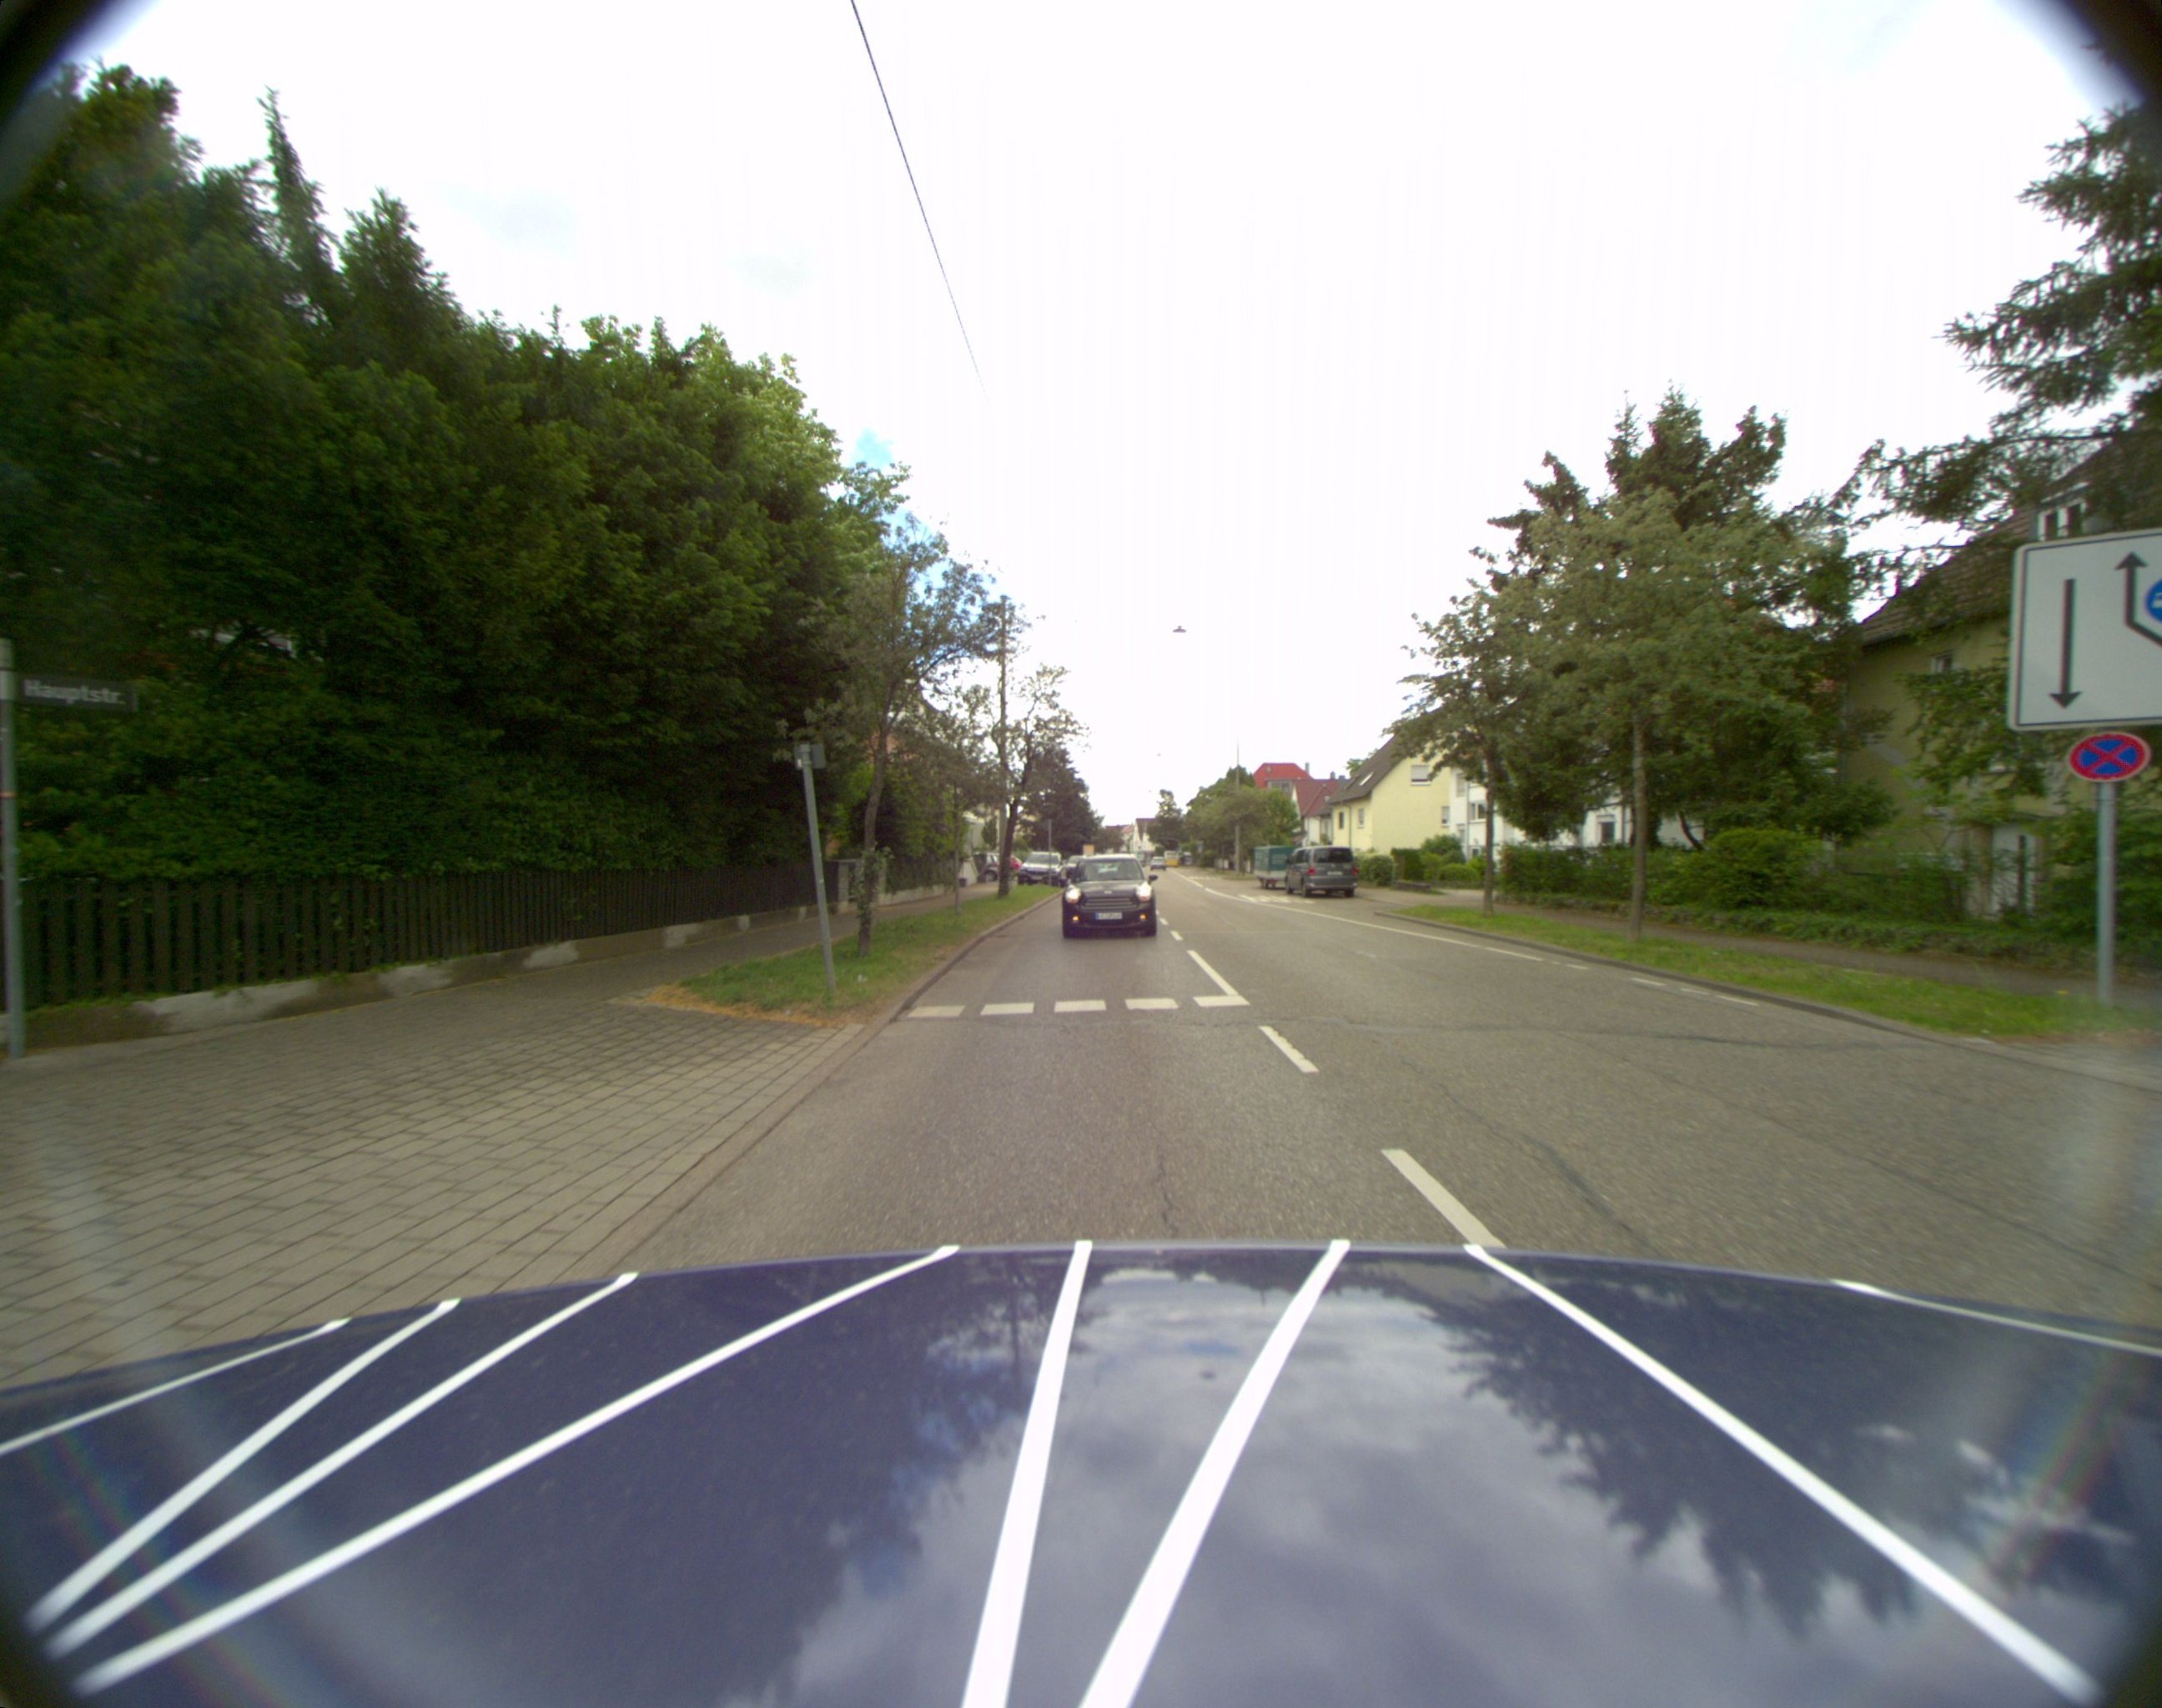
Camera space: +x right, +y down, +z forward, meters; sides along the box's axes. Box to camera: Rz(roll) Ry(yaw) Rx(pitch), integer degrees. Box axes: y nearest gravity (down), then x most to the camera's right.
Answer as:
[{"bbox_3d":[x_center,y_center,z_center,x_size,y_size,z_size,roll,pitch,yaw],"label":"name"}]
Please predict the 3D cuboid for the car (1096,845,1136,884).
[{"bbox_3d":[1.573,0.435,33.055,1.589,1.598,3.685,0,0,5],"label":"car"}]

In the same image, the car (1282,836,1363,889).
[{"bbox_3d":[9.537,0.294,30.424,1.998,1.938,4.899,0,0,4],"label":"car"}]

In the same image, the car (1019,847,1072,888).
[{"bbox_3d":[-1.646,0.606,37.115,1.902,1.826,4.916,1,0,5],"label":"car"}]

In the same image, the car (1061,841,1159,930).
[{"bbox_3d":[0.666,0.557,15.364,1.743,1.573,3.685,0,0,5],"label":"car"}]

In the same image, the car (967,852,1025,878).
[{"bbox_3d":[-5.062,0.632,45.486,3.361,1.451,1.749,1,1,-3],"label":"car"}]

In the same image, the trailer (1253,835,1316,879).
[{"bbox_3d":[9.928,0.134,37.464,2.159,2.076,4.426,0,0,3],"label":"trailer"}]

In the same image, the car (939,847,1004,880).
[{"bbox_3d":[-6.105,0.511,42.555,3.360,1.624,1.580,3,1,-1],"label":"car"}]

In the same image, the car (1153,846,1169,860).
[{"bbox_3d":[9.488,-0.091,90.577,1.825,1.594,4.300,0,0,6],"label":"car"}]

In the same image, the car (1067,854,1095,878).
[{"bbox_3d":[0.028,0.818,53.339,1.728,1.582,4.157,1,0,2],"label":"car"}]
